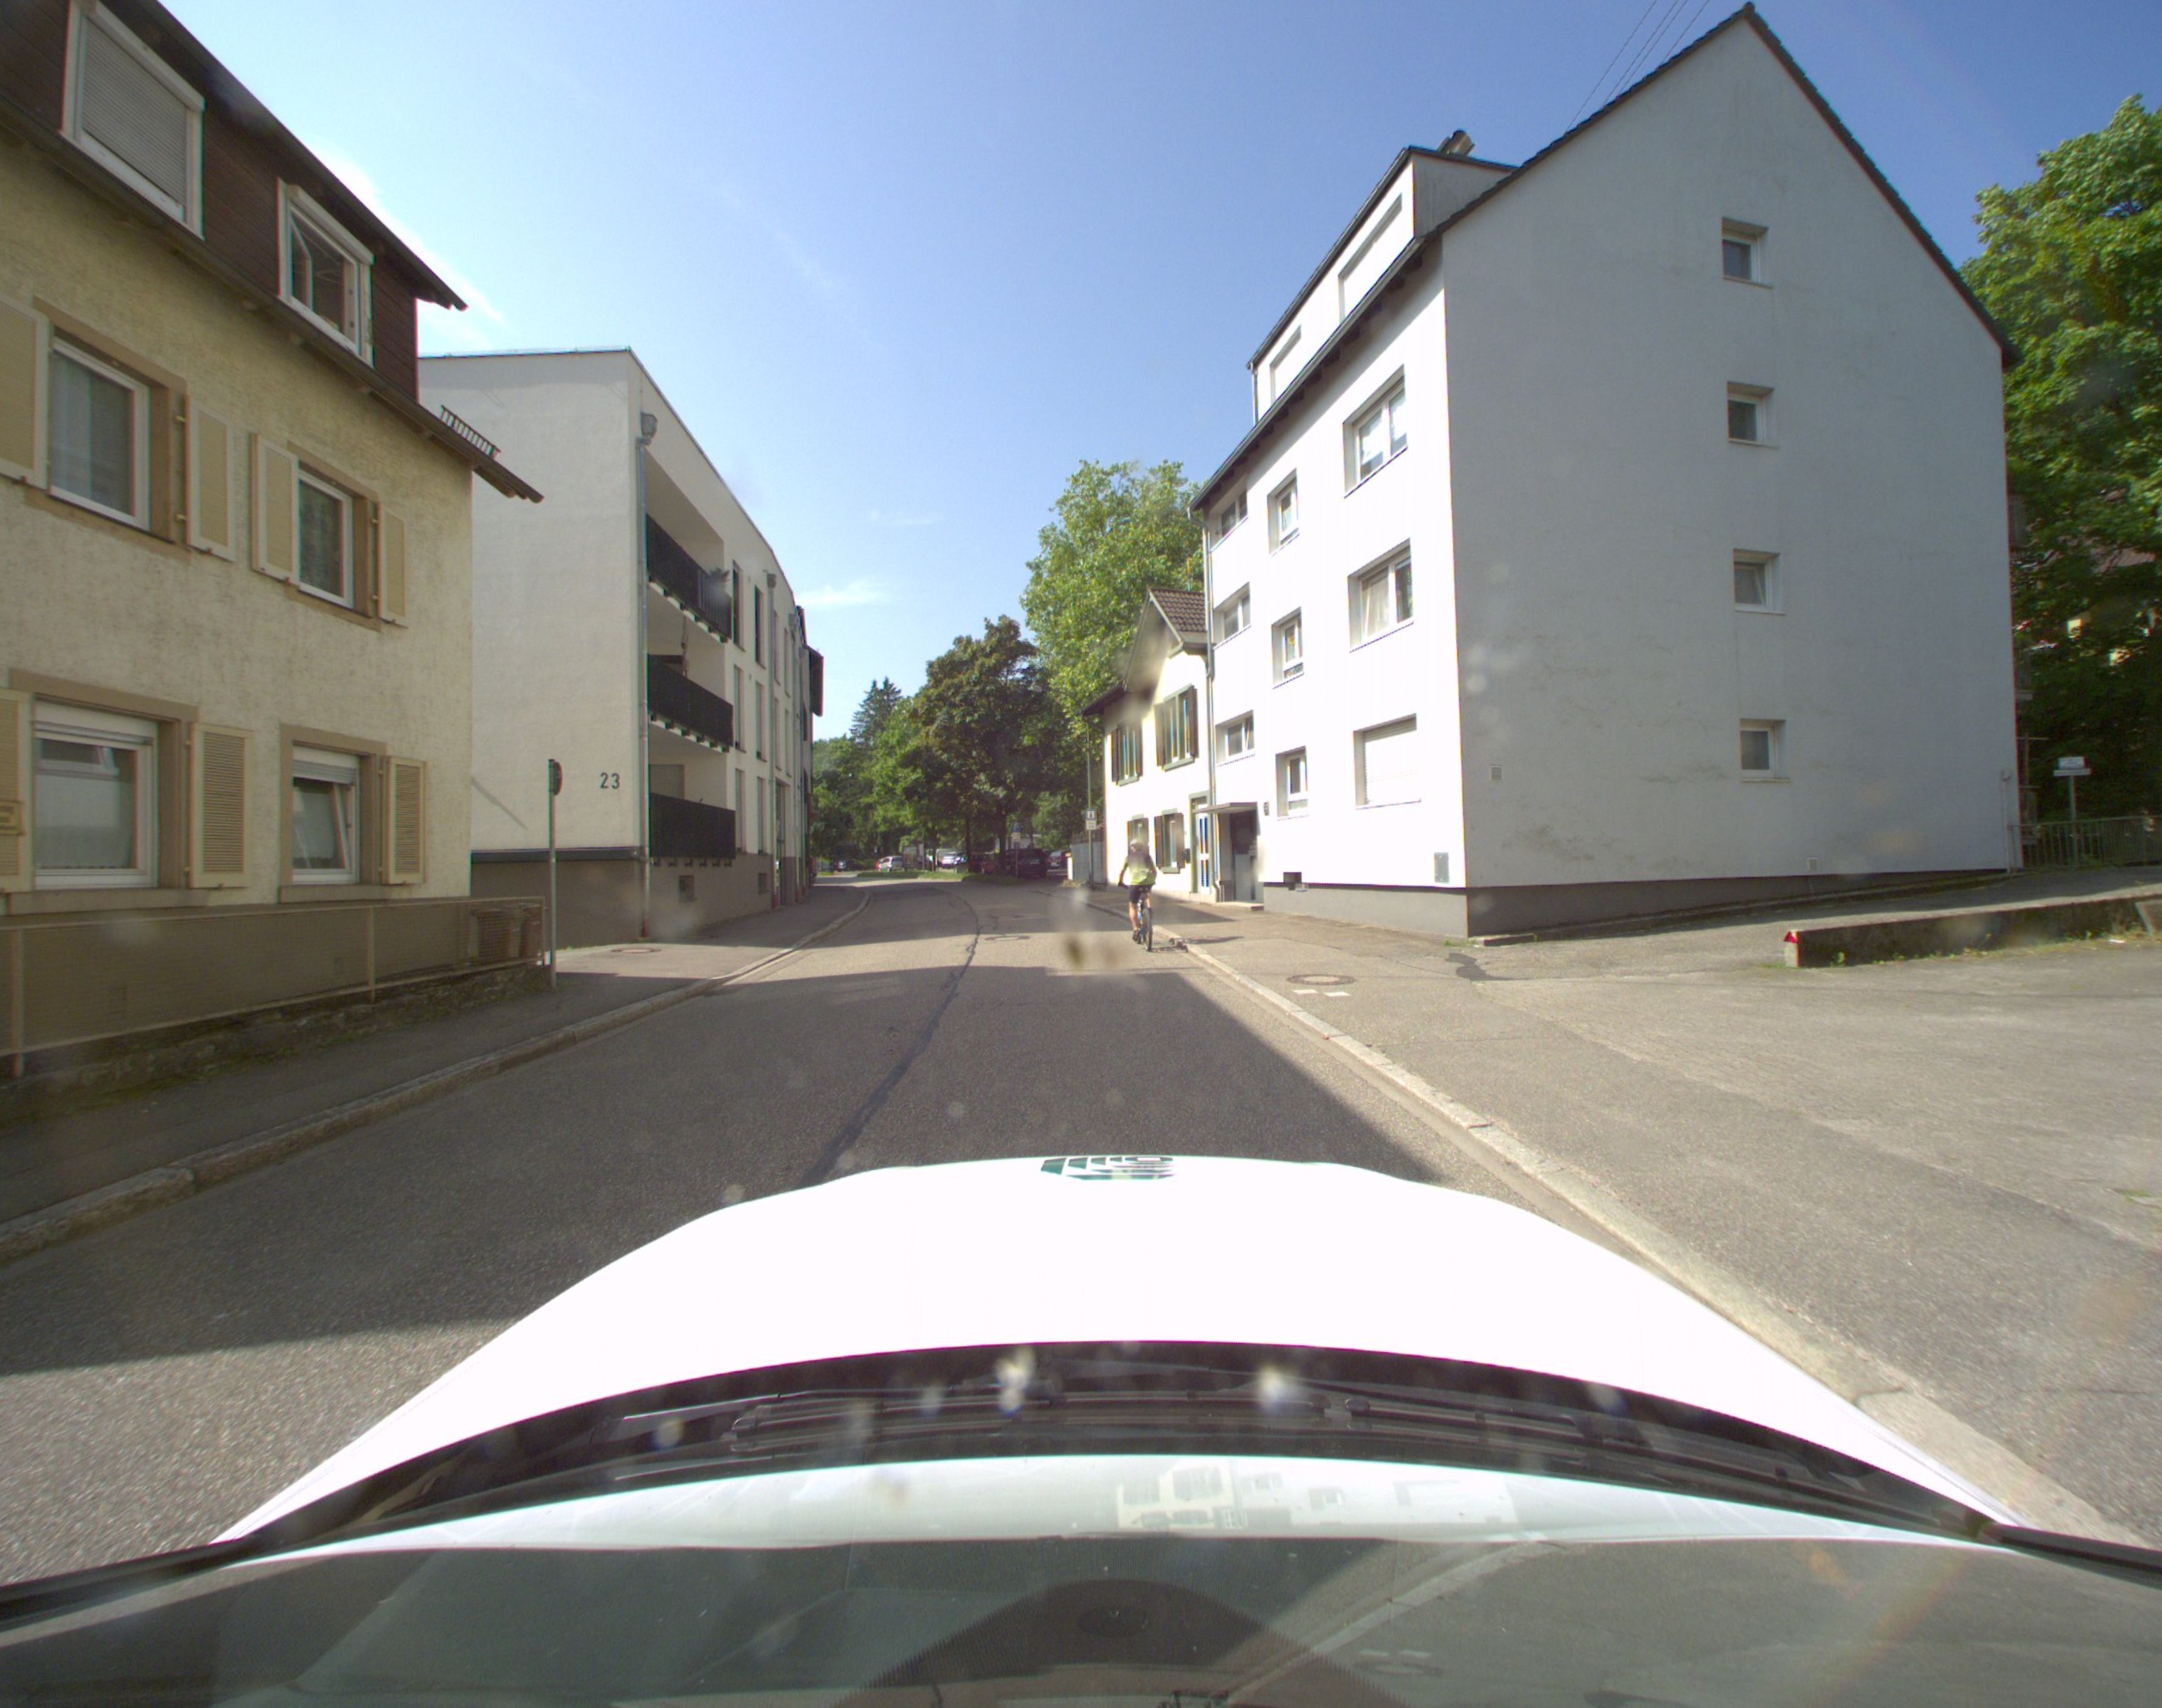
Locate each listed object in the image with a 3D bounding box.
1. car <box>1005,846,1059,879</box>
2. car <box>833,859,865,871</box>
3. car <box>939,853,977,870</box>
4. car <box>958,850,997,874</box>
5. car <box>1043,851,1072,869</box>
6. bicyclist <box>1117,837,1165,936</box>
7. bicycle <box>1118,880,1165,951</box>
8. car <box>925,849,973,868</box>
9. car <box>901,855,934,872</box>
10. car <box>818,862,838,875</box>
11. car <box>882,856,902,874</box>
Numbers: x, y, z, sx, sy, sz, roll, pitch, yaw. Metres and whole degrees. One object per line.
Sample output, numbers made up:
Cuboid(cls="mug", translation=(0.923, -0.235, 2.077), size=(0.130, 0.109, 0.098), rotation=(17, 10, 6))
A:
Cuboid(cls="car", translation=(-2.843, 0.445, 46.895), size=(1.830, 1.791, 3.969), rotation=(-2, 1, -23))
Cuboid(cls="car", translation=(-30.210, 1.423, 106.084), size=(3.384, 1.529, 1.968), rotation=(-1, 0, 22))
Cuboid(cls="car", translation=(-11.801, 0.686, 78.405), size=(1.794, 1.552, 4.022), rotation=(-1, 0, 22))
Cuboid(cls="car", translation=(-7.420, 0.526, 58.050), size=(1.716, 1.542, 3.969), rotation=(-2, 1, -23))
Cuboid(cls="car", translation=(-1.756, 0.433, 60.557), size=(1.583, 1.257, 3.844), rotation=(-3, 0, -10))
Cuboid(cls="bicyclist", translation=(0.953, 0.514, 13.156), size=(0.683, 1.531, 0.715), rotation=(-2, -1, 1))
Cuboid(cls="bicycle", translation=(0.962, 0.972, 13.221), size=(0.696, 1.035, 1.471), rotation=(0, 0, 1))
Cuboid(cls="car", translation=(-13.291, 0.433, 82.229), size=(1.974, 1.855, 4.731), rotation=(-2, 0, 37))
Cuboid(cls="car", translation=(-14.302, 0.821, 71.178), size=(1.685, 1.468, 3.373), rotation=(-1, 0, -34))
Cuboid(cls="car", translation=(-29.623, 1.686, 95.247), size=(1.644, 1.529, 3.455), rotation=(-1, 0, -27))
Cuboid(cls="car", translation=(-17.579, 1.025, 75.819), size=(1.746, 1.552, 3.736), rotation=(-1, 0, -13))
